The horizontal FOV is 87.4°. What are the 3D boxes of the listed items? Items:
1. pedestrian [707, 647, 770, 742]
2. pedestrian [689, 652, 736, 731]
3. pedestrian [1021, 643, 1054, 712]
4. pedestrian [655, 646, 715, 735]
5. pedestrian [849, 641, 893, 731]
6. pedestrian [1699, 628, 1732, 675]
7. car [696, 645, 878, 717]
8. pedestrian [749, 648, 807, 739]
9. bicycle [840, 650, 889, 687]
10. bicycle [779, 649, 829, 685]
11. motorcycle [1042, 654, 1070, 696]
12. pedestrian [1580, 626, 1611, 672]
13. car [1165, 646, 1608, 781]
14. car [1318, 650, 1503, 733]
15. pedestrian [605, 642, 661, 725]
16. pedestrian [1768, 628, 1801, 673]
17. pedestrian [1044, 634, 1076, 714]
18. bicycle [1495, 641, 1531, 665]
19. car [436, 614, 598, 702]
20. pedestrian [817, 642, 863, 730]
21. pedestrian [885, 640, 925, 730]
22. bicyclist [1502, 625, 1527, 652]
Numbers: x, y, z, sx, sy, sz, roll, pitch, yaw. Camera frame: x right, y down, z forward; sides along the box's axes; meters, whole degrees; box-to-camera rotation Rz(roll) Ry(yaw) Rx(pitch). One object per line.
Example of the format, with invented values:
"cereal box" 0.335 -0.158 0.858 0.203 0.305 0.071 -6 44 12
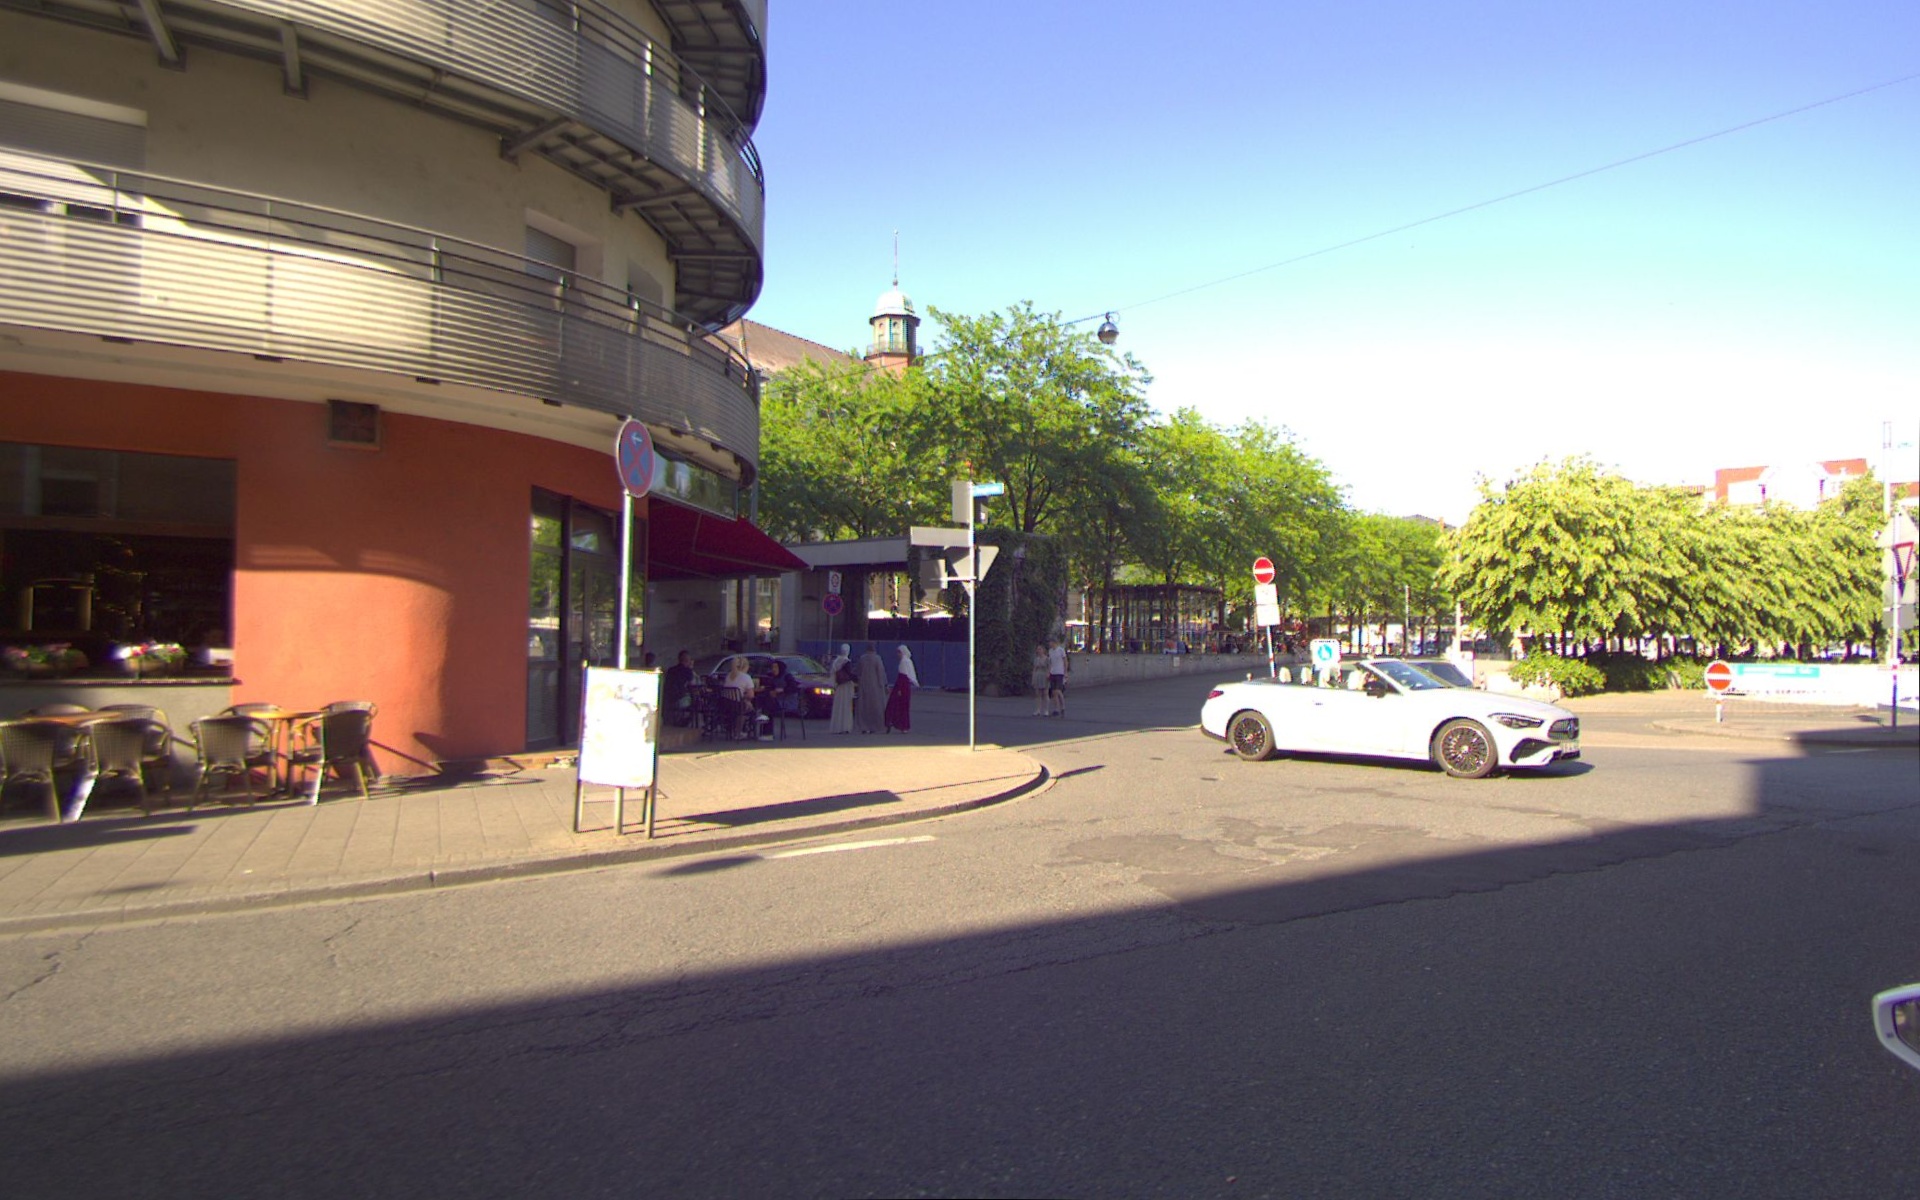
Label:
"pedestrian" -3.282 1.385 14.900 0.565 1.357 0.698 -1 -2 33
"pedestrian" -4.403 1.611 17.902 0.563 1.357 0.701 0 -2 9
"pedestrian" 1.868 1.862 24.233 0.605 1.634 0.582 -1 -2 28
"pedestrian" -4.339 1.411 15.853 0.565 1.357 0.698 -1 -2 33
"pedestrian" -1.578 1.520 17.936 0.531 1.555 0.687 0 -2 20
"pedestrian" 34.895 2.356 46.389 0.949 2.136 0.734 1 -1 -6
"car" -4.172 1.856 23.681 1.909 1.535 4.673 3 -5 -45
"pedestrian" -2.818 1.432 15.588 0.565 1.357 0.698 -1 -2 33
"bicycle" -3.062 2.194 32.424 0.497 1.146 1.961 -1 -3 32
"bicycle" -5.190 2.219 33.589 0.497 1.146 1.961 -1 -3 32
"motorcycle" 2.939 2.302 31.008 0.496 1.224 1.693 0 -2 -7
"pedestrian" 29.626 2.281 46.827 0.949 2.136 0.734 1 -1 -6
"car" 5.387 1.368 13.334 1.985 1.441 5.056 3 -4 -41
"car" 9.607 1.847 21.269 4.499 1.441 1.734 0 -2 -39
"pedestrian" -5.528 1.394 17.006 0.565 1.357 0.698 -1 -2 33
"pedestrian" 39.286 2.388 47.853 0.949 2.136 0.734 1 -1 -6
"pedestrian" 2.371 1.744 23.781 0.577 1.851 0.558 -1 -2 28
"bicycle" 35.870 3.430 65.091 2.660 1.523 0.958 2 -2 -34
"car" -11.460 1.499 25.895 4.283 2.075 2.028 -3 -4 38
"pedestrian" -2.178 1.546 18.252 0.563 1.555 0.700 0 -2 20
"pedestrian" -0.976 1.500 17.912 0.532 1.555 0.553 0 -2 20
"bicyclist" 35.985 2.502 65.163 1.198 1.722 0.958 2 -2 -34
